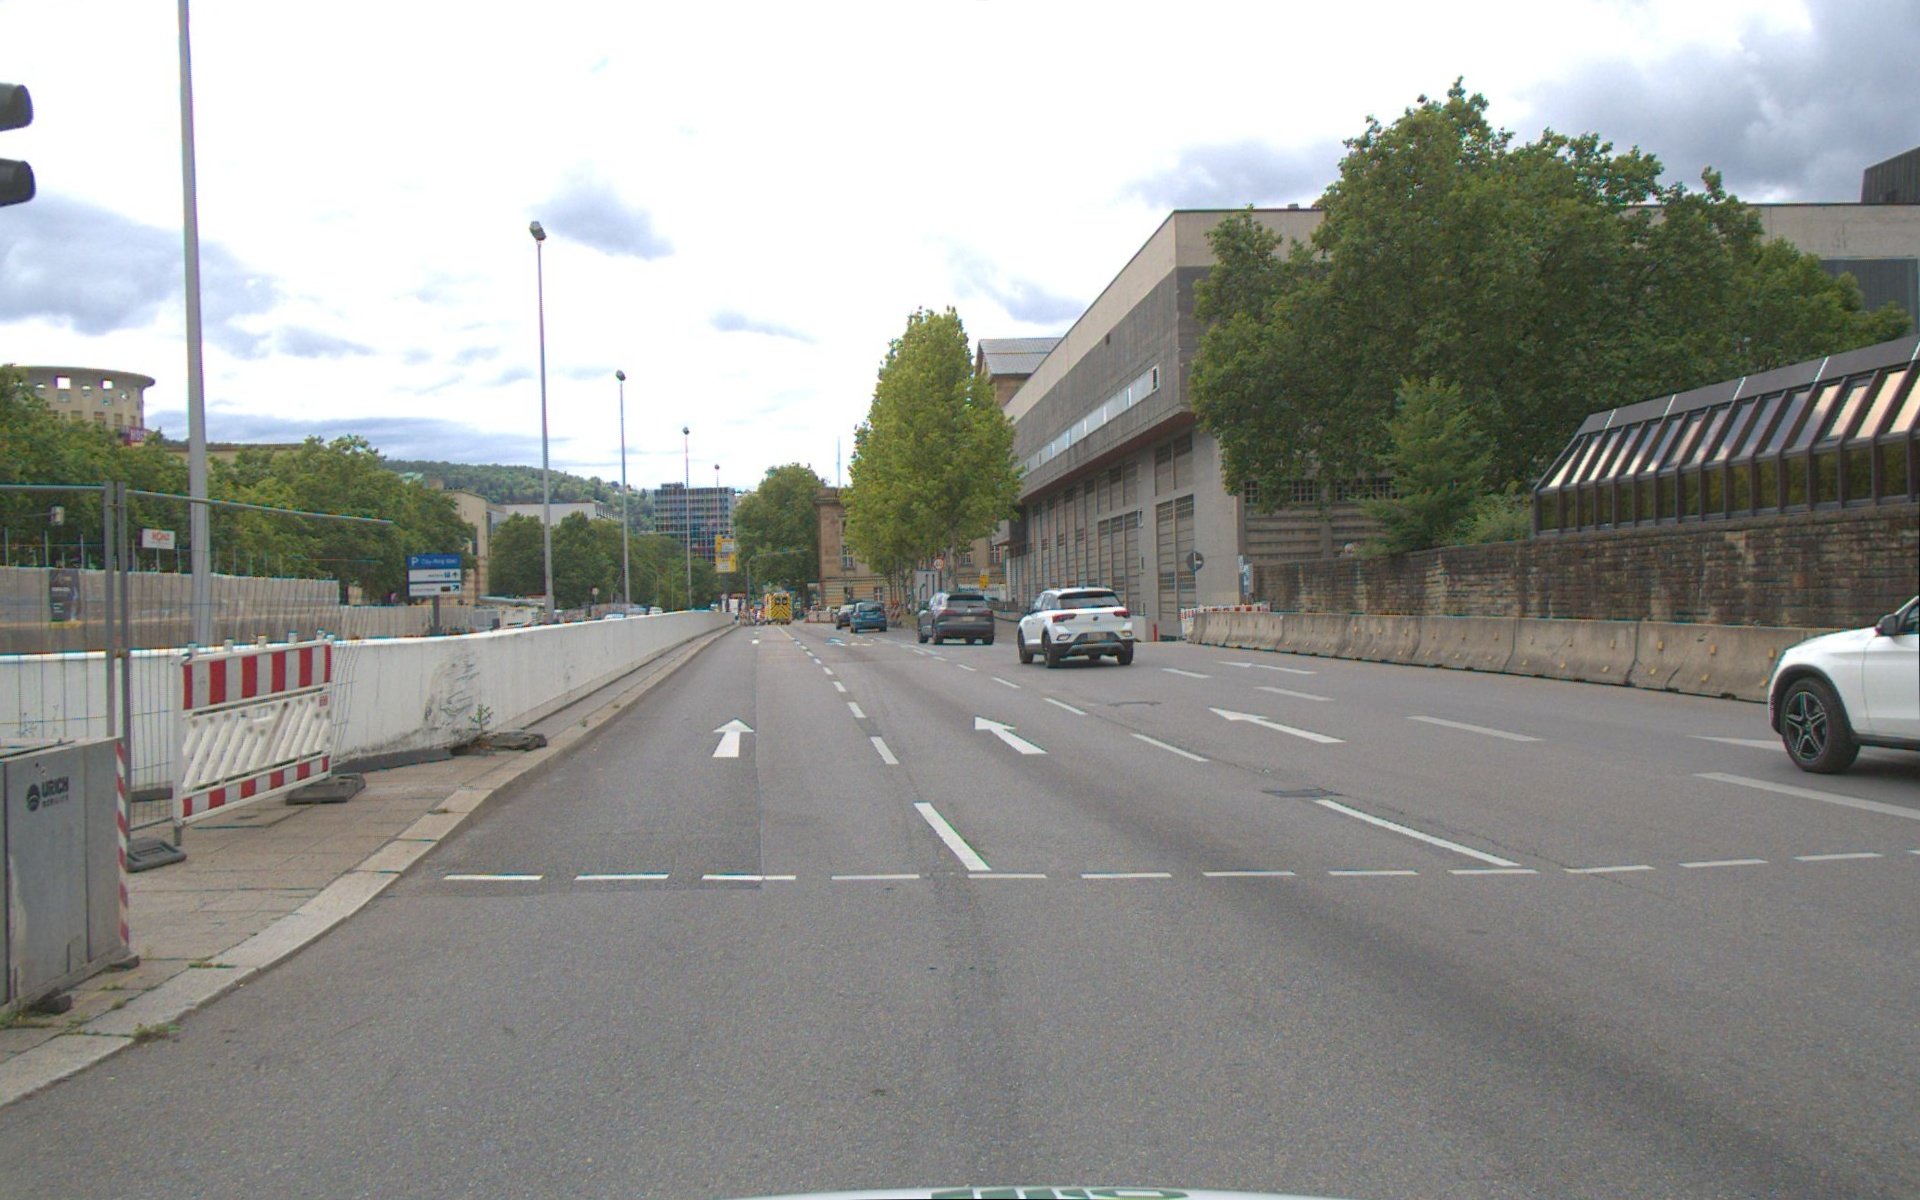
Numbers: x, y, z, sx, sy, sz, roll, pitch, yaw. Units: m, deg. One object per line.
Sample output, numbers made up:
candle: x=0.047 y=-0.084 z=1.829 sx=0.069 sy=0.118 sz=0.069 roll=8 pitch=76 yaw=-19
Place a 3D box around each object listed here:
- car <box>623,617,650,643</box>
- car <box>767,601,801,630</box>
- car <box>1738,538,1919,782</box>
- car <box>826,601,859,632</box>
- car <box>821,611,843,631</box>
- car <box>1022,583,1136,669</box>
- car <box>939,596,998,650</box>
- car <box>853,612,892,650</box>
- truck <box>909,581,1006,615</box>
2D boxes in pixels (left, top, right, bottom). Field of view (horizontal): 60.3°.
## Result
car: x=-27.808 y=2.566 z=142.160 sx=1.956 sy=2.048 sz=3.994 roll=-2 pitch=1 yaw=-7
car: x=-15.855 y=1.403 z=149.220 sx=2.531 sy=2.416 sz=5.523 roll=-2 pitch=0 yaw=-2
car: x=7.634 y=0.379 z=11.373 sx=1.779 sy=1.671 sz=4.541 roll=-4 pitch=1 yaw=-10
car: x=-7.213 y=1.014 z=101.879 sx=1.787 sy=1.771 sz=4.478 roll=-2 pitch=0 yaw=-2
car: x=-11.782 y=1.928 z=152.303 sx=1.787 sy=1.771 sz=4.478 roll=-2 pitch=0 yaw=-2
car: x=2.397 y=0.495 z=34.412 sx=1.716 sy=1.595 sz=4.328 roll=-3 pitch=0 yaw=-4
car: x=0.330 y=0.719 z=54.084 sx=1.786 sy=1.595 sz=4.480 roll=2 pitch=0 yaw=1
car: x=-4.314 y=1.522 z=81.882 sx=1.787 sy=1.771 sz=4.478 roll=-2 pitch=0 yaw=-2
truck: x=-0.241 y=-0.222 z=172.533 sx=9.837 sy=3.104 sz=2.565 roll=-2 pitch=-2 yaw=-6
